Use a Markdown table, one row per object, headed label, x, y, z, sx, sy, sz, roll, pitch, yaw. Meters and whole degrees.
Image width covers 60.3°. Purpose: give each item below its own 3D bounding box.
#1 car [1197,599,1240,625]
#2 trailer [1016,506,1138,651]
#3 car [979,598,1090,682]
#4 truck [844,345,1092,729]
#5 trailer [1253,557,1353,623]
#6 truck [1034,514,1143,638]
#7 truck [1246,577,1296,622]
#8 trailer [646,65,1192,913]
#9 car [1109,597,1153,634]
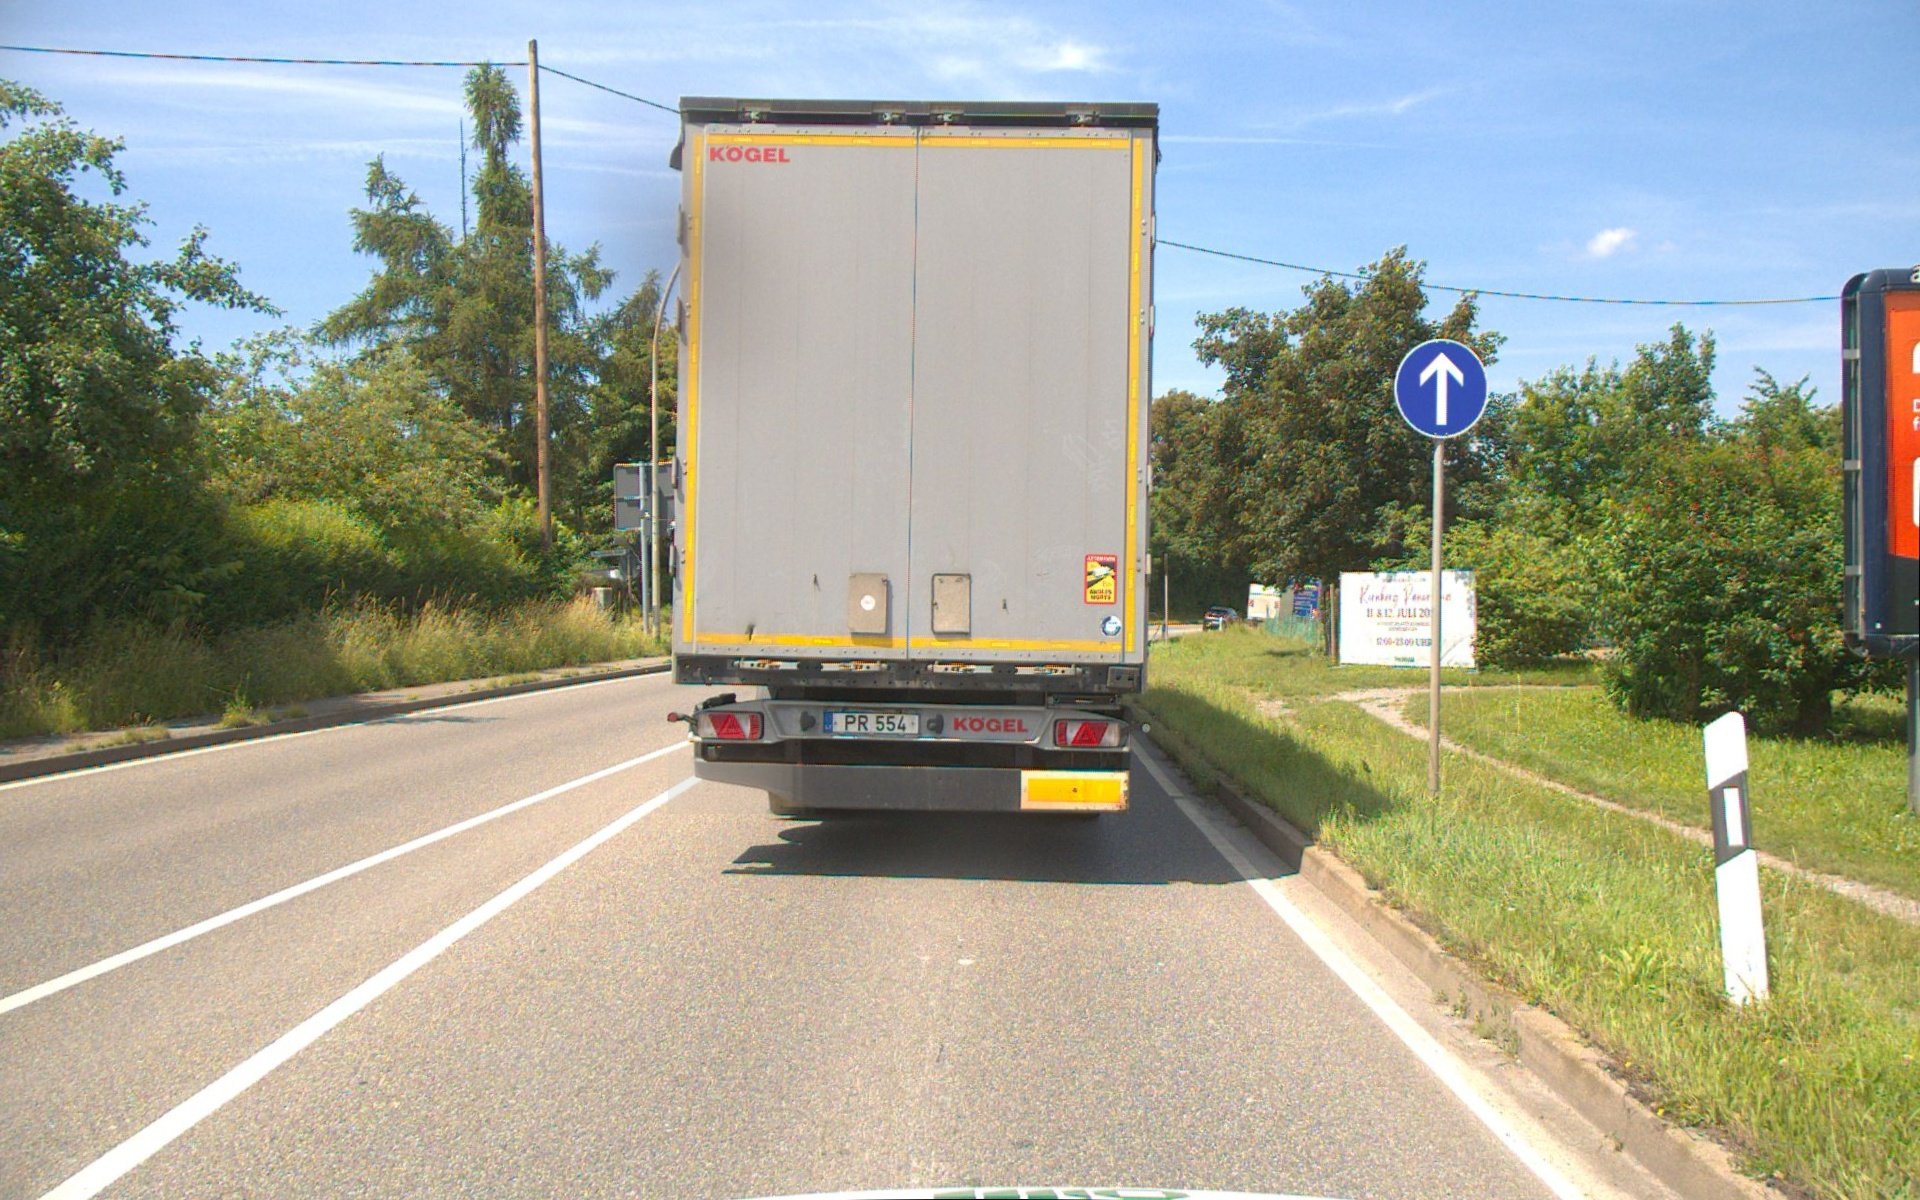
| label | x | y | z | sx | sy | sz | roll | pitch | yaw |
| --- | --- | --- | --- | --- | --- | --- | --- | --- | --- |
| car | 15.568 | 0.702 | 99.497 | 1.803 | 1.512 | 4.001 | 1 | 1 | 20 |
| trailer | 4.405 | -0.771 | 59.047 | 3.808 | 4.600 | 12.723 | 0 | 1 | 6 |
| car | 1.562 | 0.761 | 33.386 | 1.951 | 1.557 | 4.003 | 1 | 0 | 6 |
| truck | 0.323 | -0.747 | 21.452 | 2.688 | 4.238 | 6.147 | 1 | 1 | 5 |
| trailer | 26.470 | -0.829 | 126.619 | 5.072 | 4.709 | 15.898 | 1 | 1 | 20 |
| truck | 5.220 | -0.905 | 65.916 | 3.853 | 4.655 | 7.157 | 0 | 0 | 8 |
| truck | 20.861 | -0.064 | 110.726 | 2.371 | 2.888 | 5.412 | 0 | 1 | 21 |
| trailer | -0.001 | -0.646 | 14.453 | 2.729 | 4.278 | 12.115 | 1 | 1 | 2 |
| car | 9.156 | 0.790 | 88.327 | 1.951 | 1.870 | 4.004 | 1 | 1 | 12 |
